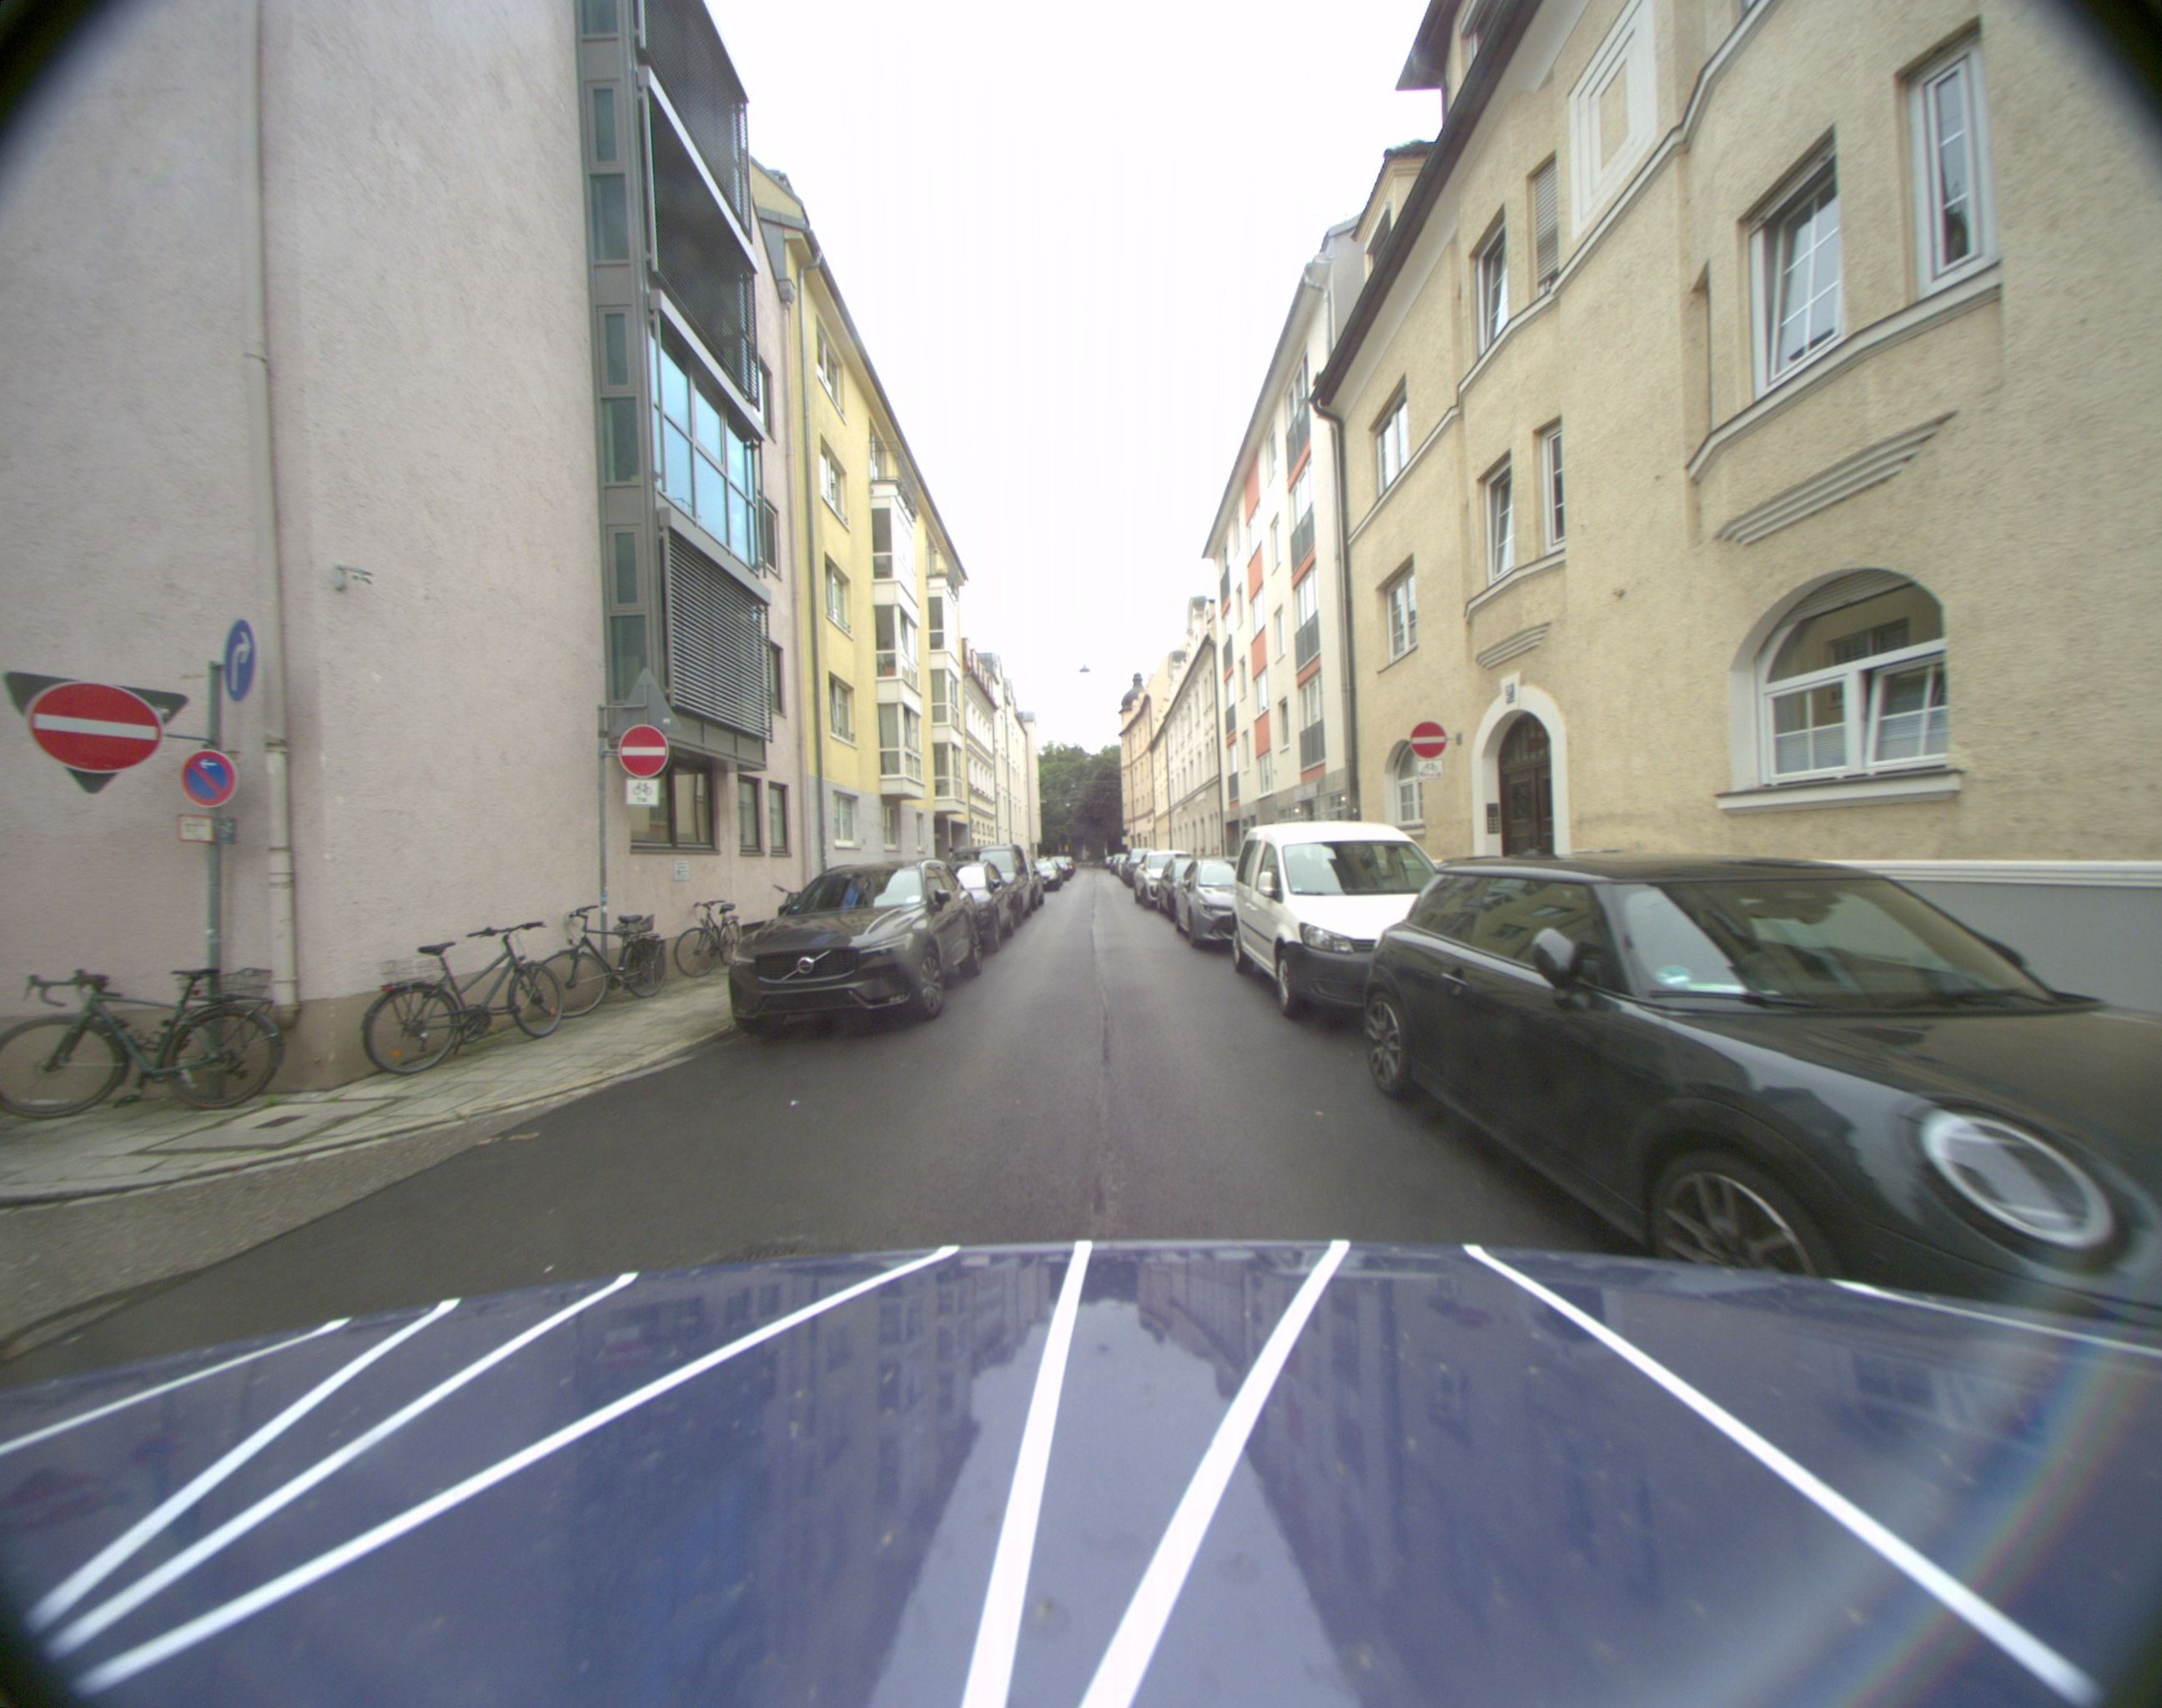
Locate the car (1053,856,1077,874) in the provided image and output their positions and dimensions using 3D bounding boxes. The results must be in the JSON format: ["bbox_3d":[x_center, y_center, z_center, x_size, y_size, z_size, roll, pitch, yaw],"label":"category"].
[{"bbox_3d":[-1.300,0.881,62.351,1.739,1.297,3.686,-4,0,0],"label":"car"}]

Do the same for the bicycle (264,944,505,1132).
[{"bbox_3d":[-5.324,1.355,5.924,0.552,1.119,1.357,-3,0,2],"label":"bicycle"}]

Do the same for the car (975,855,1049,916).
[{"bbox_3d":[-2.154,0.943,24.873,1.837,1.676,4.228,-4,0,1],"label":"car"}]

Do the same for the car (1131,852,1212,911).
[{"bbox_3d":[2.636,0.753,23.067,1.785,1.596,4.307,-1,0,-2],"label":"car"}]

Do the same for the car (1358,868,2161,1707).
[{"bbox_3d":[2.566,0.836,2.950,1.656,1.403,3.734,-1,1,1],"label":"car"}]

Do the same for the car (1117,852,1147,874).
[{"bbox_3d":[3.636,0.620,54.737,1.951,1.470,3.716,-1,0,1],"label":"car"}]

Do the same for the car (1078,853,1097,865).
[{"bbox_3d":[0.779,0.627,99.565,1.800,1.501,3.996,-1,0,-10],"label":"car"}]

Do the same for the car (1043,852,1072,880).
[{"bbox_3d":[-1.595,0.804,51.998,1.739,1.743,3.686,-4,0,0],"label":"car"}]

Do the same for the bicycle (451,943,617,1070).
[{"bbox_3d":[-5.230,1.418,7.360,0.552,0.942,1.357,-3,0,2],"label":"bicycle"}]

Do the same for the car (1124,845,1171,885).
[{"bbox_3d":[3.225,0.512,37.639,1.951,1.850,4.908,-1,0,1],"label":"car"}]

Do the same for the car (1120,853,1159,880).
[{"bbox_3d":[3.291,0.688,43.274,1.951,1.470,3.716,-1,0,1],"label":"car"}]

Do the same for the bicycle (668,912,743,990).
[{"bbox_3d":[-5.312,1.353,10.819,0.358,0.942,1.269,-3,0,2],"label":"bicycle"}]

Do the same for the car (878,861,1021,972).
[{"bbox_3d":[-2.305,1.034,14.493,1.837,1.612,4.323,-4,0,0],"label":"car"}]

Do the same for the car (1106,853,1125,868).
[{"bbox_3d":[3.681,0.673,81.652,1.951,1.470,3.979,-1,0,1],"label":"car"}]

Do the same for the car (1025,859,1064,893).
[{"bbox_3d":[-1.847,1.052,37.869,1.749,1.433,4.227,-4,0,-3],"label":"car"}]

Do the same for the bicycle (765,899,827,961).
[{"bbox_3d":[-5.128,1.348,13.763,0.442,0.942,1.576,-3,0,2],"label":"bicycle"}]

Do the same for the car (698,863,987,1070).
[{"bbox_3d":[-2.359,1.013,8.861,1.837,1.612,4.411,-4,1,1],"label":"car"}]

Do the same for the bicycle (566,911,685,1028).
[{"bbox_3d":[-5.250,1.287,8.858,0.358,1.115,1.543,-3,0,2],"label":"bicycle"}]

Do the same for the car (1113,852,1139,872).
[{"bbox_3d":[3.538,0.611,60.443,1.951,1.470,3.979,-1,0,1],"label":"car"}]

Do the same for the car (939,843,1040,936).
[{"bbox_3d":[-2.216,0.776,19.892,1.877,2.002,5.106,-4,1,0],"label":"car"}]

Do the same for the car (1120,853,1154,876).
[{"bbox_3d":[3.620,0.657,49.748,1.951,1.470,3.716,-1,0,1],"label":"car"}]

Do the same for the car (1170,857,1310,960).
[{"bbox_3d":[2.585,0.808,13.257,1.676,1.467,4.112,-1,0,2],"label":"car"}]

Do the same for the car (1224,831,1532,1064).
[{"bbox_3d":[2.666,0.681,7.941,1.728,1.779,4.249,-1,1,3],"label":"car"}]

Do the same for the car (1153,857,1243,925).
[{"bbox_3d":[2.764,0.815,18.645,1.632,1.466,3.841,-1,0,1],"label":"car"}]

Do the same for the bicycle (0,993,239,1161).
[{"bbox_3d":[-6.861,1.516,5.208,1.452,0.942,0.552,-3,0,-3],"label":"bicycle"}]

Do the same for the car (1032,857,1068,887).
[{"bbox_3d":[-1.713,0.977,42.490,1.739,1.433,3.686,-4,0,0],"label":"car"}]

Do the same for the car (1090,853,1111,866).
[{"bbox_3d":[2.335,0.643,91.258,1.800,1.501,3.996,-1,0,-10],"label":"car"}]

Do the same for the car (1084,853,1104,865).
[{"bbox_3d":[1.591,0.614,95.459,1.800,1.501,3.996,-1,0,-10],"label":"car"}]

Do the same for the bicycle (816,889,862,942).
[{"bbox_3d":[-5.080,1.272,16.012,0.422,0.970,1.446,-3,0,2],"label":"bicycle"}]
